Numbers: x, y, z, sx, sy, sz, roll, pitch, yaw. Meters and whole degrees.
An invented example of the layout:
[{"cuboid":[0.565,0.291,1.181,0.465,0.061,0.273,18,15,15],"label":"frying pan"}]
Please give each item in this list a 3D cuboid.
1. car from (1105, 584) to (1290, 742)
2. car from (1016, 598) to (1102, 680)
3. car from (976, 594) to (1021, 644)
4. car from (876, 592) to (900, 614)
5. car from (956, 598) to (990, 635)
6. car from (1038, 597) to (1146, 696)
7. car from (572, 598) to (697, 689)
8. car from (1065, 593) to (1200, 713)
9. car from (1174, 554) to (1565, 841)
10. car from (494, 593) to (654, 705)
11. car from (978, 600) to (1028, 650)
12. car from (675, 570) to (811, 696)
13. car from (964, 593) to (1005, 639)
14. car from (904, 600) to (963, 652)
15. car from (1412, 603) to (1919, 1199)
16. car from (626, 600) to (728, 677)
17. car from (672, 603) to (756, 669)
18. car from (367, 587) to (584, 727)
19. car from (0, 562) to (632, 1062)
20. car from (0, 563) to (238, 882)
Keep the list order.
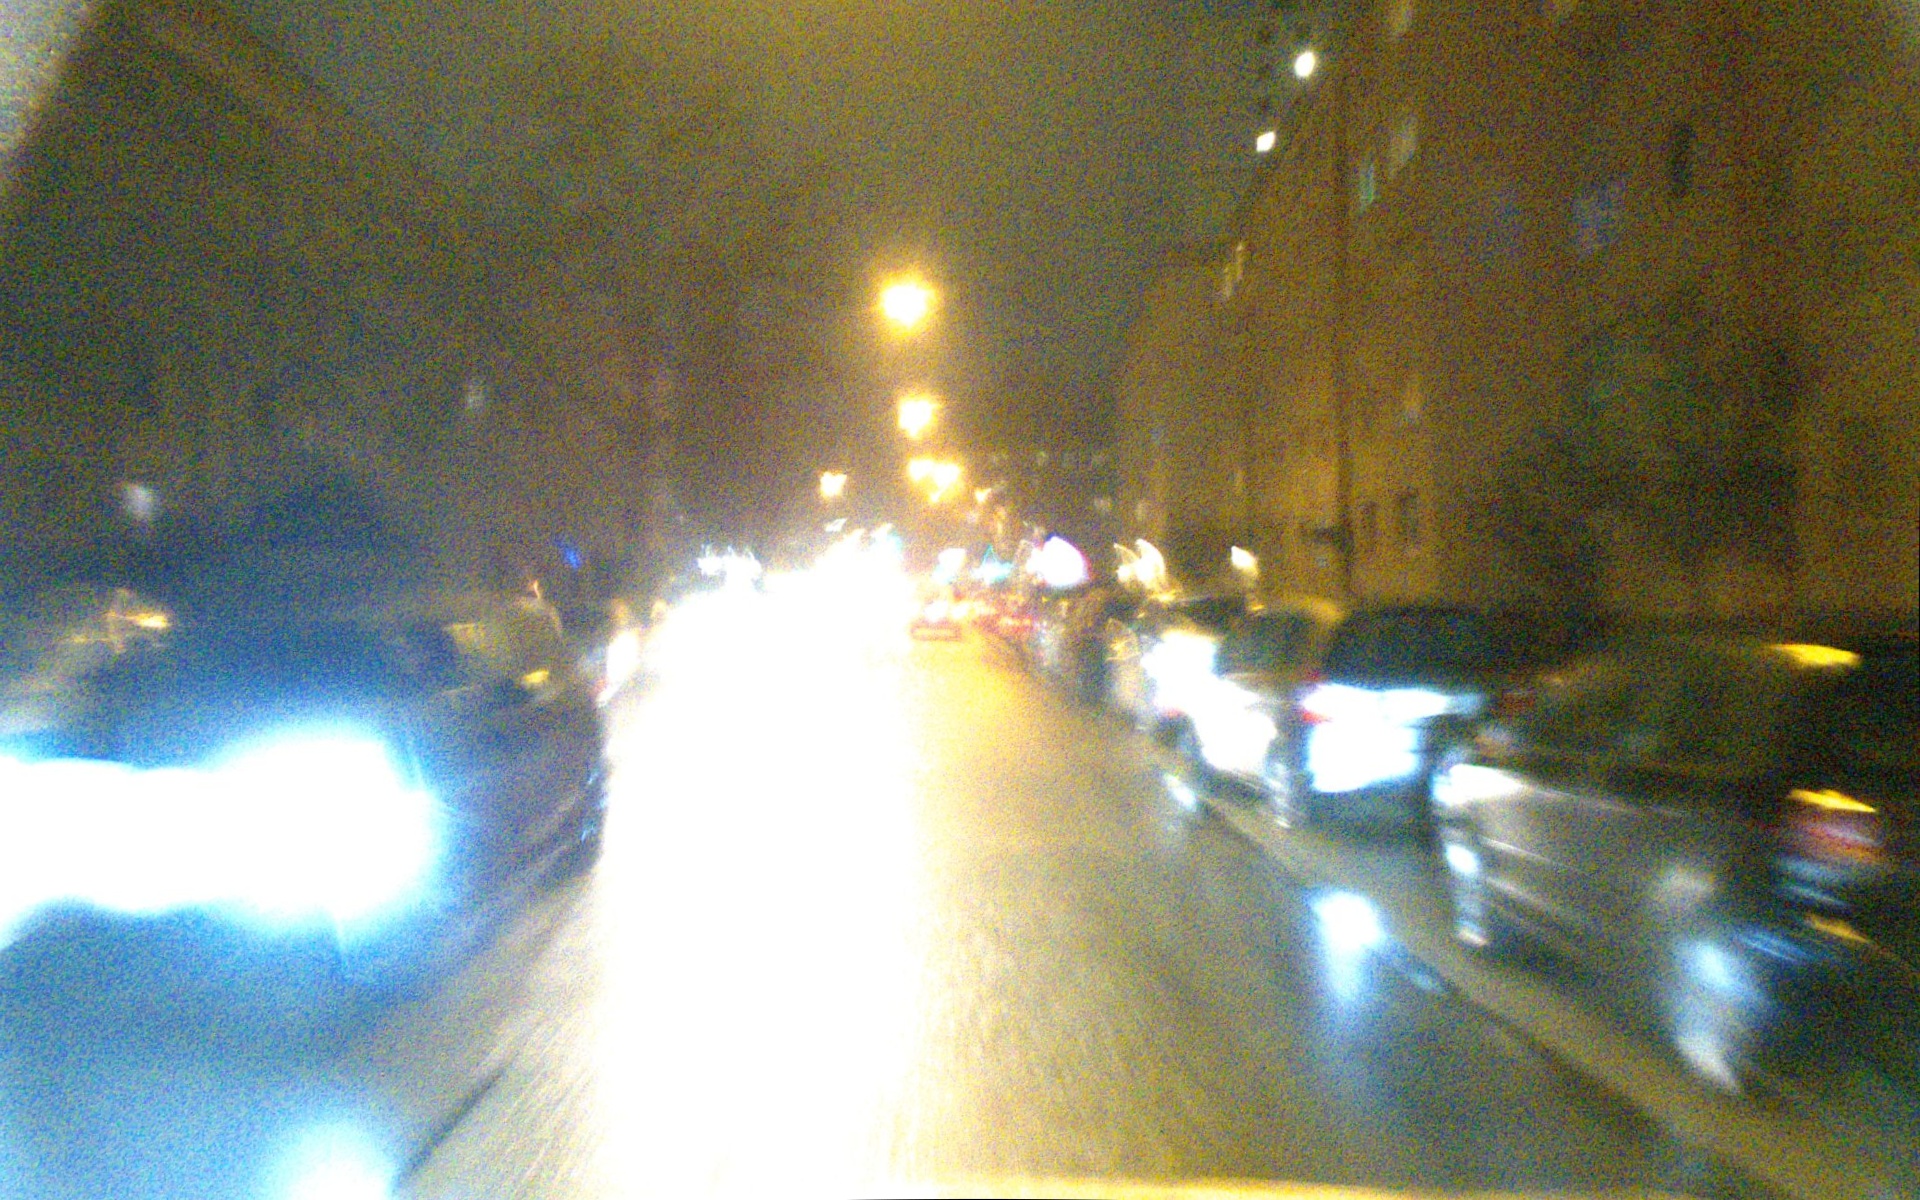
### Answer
[{"cuboid":[2.638,0.651,19.095,1.504,1.589,3.803,-2,0,-1],"label":"car"},{"cuboid":[2.040,0.772,34.969,1.504,1.589,3.803,-2,0,-1],"label":"car"},{"cuboid":[1.413,0.681,61.447,1.504,1.740,3.803,-2,0,-1],"label":"car"},{"cuboid":[-5.878,0.248,135.637,1.775,1.740,3.803,-2,0,-1],"label":"car"},{"cuboid":[0.620,0.774,80.414,1.504,1.740,3.803,-2,0,-1],"label":"car"},{"cuboid":[2.279,0.769,29.300,1.504,1.589,3.803,-2,0,-1],"label":"car"},{"cuboid":[-6.086,0.771,31.297,1.544,1.487,3.999,-4,0,-1],"label":"car"},{"cuboid":[2.465,0.712,24.356,1.504,1.589,3.803,-2,0,-1],"label":"car"},{"cuboid":[2.769,0.593,12.126,1.783,1.703,3.999,-2,0,-1],"label":"car"},{"cuboid":[-5.926,0.704,25.830,1.544,1.487,3.999,-4,0,-1],"label":"car"},{"cuboid":[1.451,0.825,56.355,1.504,1.589,3.803,-2,0,-1],"label":"car"},{"cuboid":[-3.326,0.502,25.963,1.655,1.816,3.999,0,-1,-1],"label":"car"},{"cuboid":[0.966,0.615,66.639,1.504,1.740,3.803,-2,0,-1],"label":"car"},{"cuboid":[-0.913,0.870,56.667,1.953,1.713,3.999,0,0,-1],"label":"car"},{"cuboid":[2.915,0.747,5.961,1.465,1.412,3.746,-2,0,-1],"label":"car"},{"cuboid":[-6.170,0.803,36.445,1.544,1.487,3.999,-4,0,-1],"label":"car"},{"cuboid":[-6.230,0.875,42.264,1.544,1.487,3.999,-4,0,-1],"label":"car"},{"cuboid":[-6.002,0.651,20.927,1.544,1.487,3.999,-4,0,-1],"label":"car"},{"cuboid":[-2.797,0.629,7.389,1.784,1.489,4.864,1,0,-2],"label":"car"},{"cuboid":[-5.717,0.671,8.951,1.724,1.598,4.450,-3,-1,-2],"label":"car"}]
